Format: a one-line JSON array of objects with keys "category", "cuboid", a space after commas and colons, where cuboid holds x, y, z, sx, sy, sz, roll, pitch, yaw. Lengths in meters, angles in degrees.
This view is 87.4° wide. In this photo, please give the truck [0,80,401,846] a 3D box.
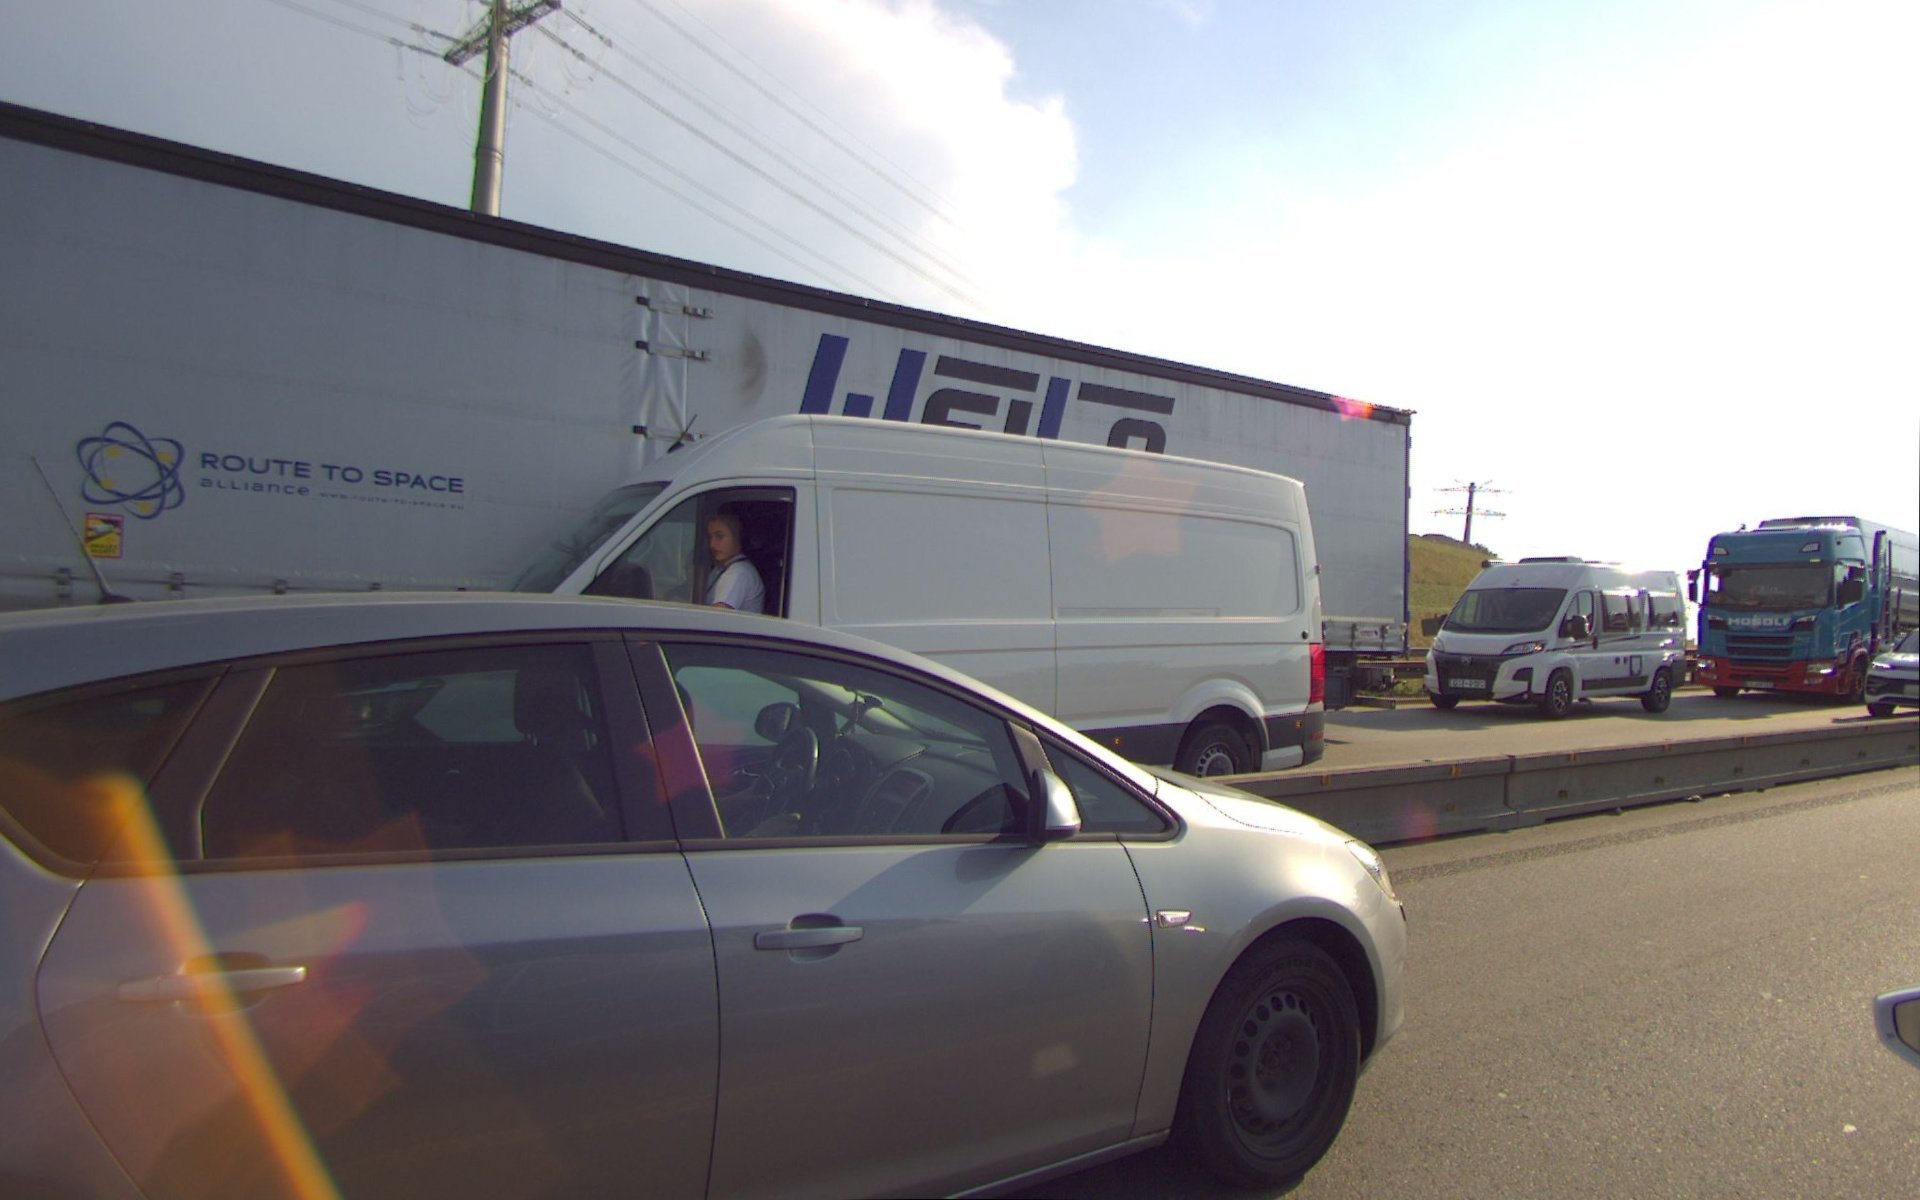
[{"category": "truck", "cuboid": [-6.666, -0.765, 6.020, 5.594, 4.119, 2.493, 2, -1, -28]}]

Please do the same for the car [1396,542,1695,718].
[{"category": "car", "cuboid": [10.124, 0.522, 17.208, 5.529, 2.591, 2.145, 2, -1, -33]}]

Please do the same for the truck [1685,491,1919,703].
[{"category": "truck", "cuboid": [18.722, 0.021, 22.127, 5.821, 4.119, 2.489, 2, -1, -33]}]

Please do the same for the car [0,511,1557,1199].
[{"category": "car", "cuboid": [-0.542, 0.672, 2.637, 4.301, 1.492, 1.747, 2, -1, -30]}]

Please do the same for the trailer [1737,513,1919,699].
[{"category": "trailer", "cuboid": [25.222, 0.350, 26.509, 15.228, 3.924, 2.679, 2, -1, -33]}]

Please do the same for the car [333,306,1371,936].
[{"category": "car", "cuboid": [-0.220, 0.179, 6.738, 6.703, 2.533, 2.045, 2, -1, -33]}]

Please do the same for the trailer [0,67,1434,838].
[{"category": "trailer", "cuboid": [-0.973, -0.632, 9.445, 14.437, 4.185, 2.295, 2, -1, -32]}]

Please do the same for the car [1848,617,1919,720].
[{"category": "car", "cuboid": [17.975, 1.219, 18.026, 4.546, 1.717, 1.860, 2, -1, -32]}]
